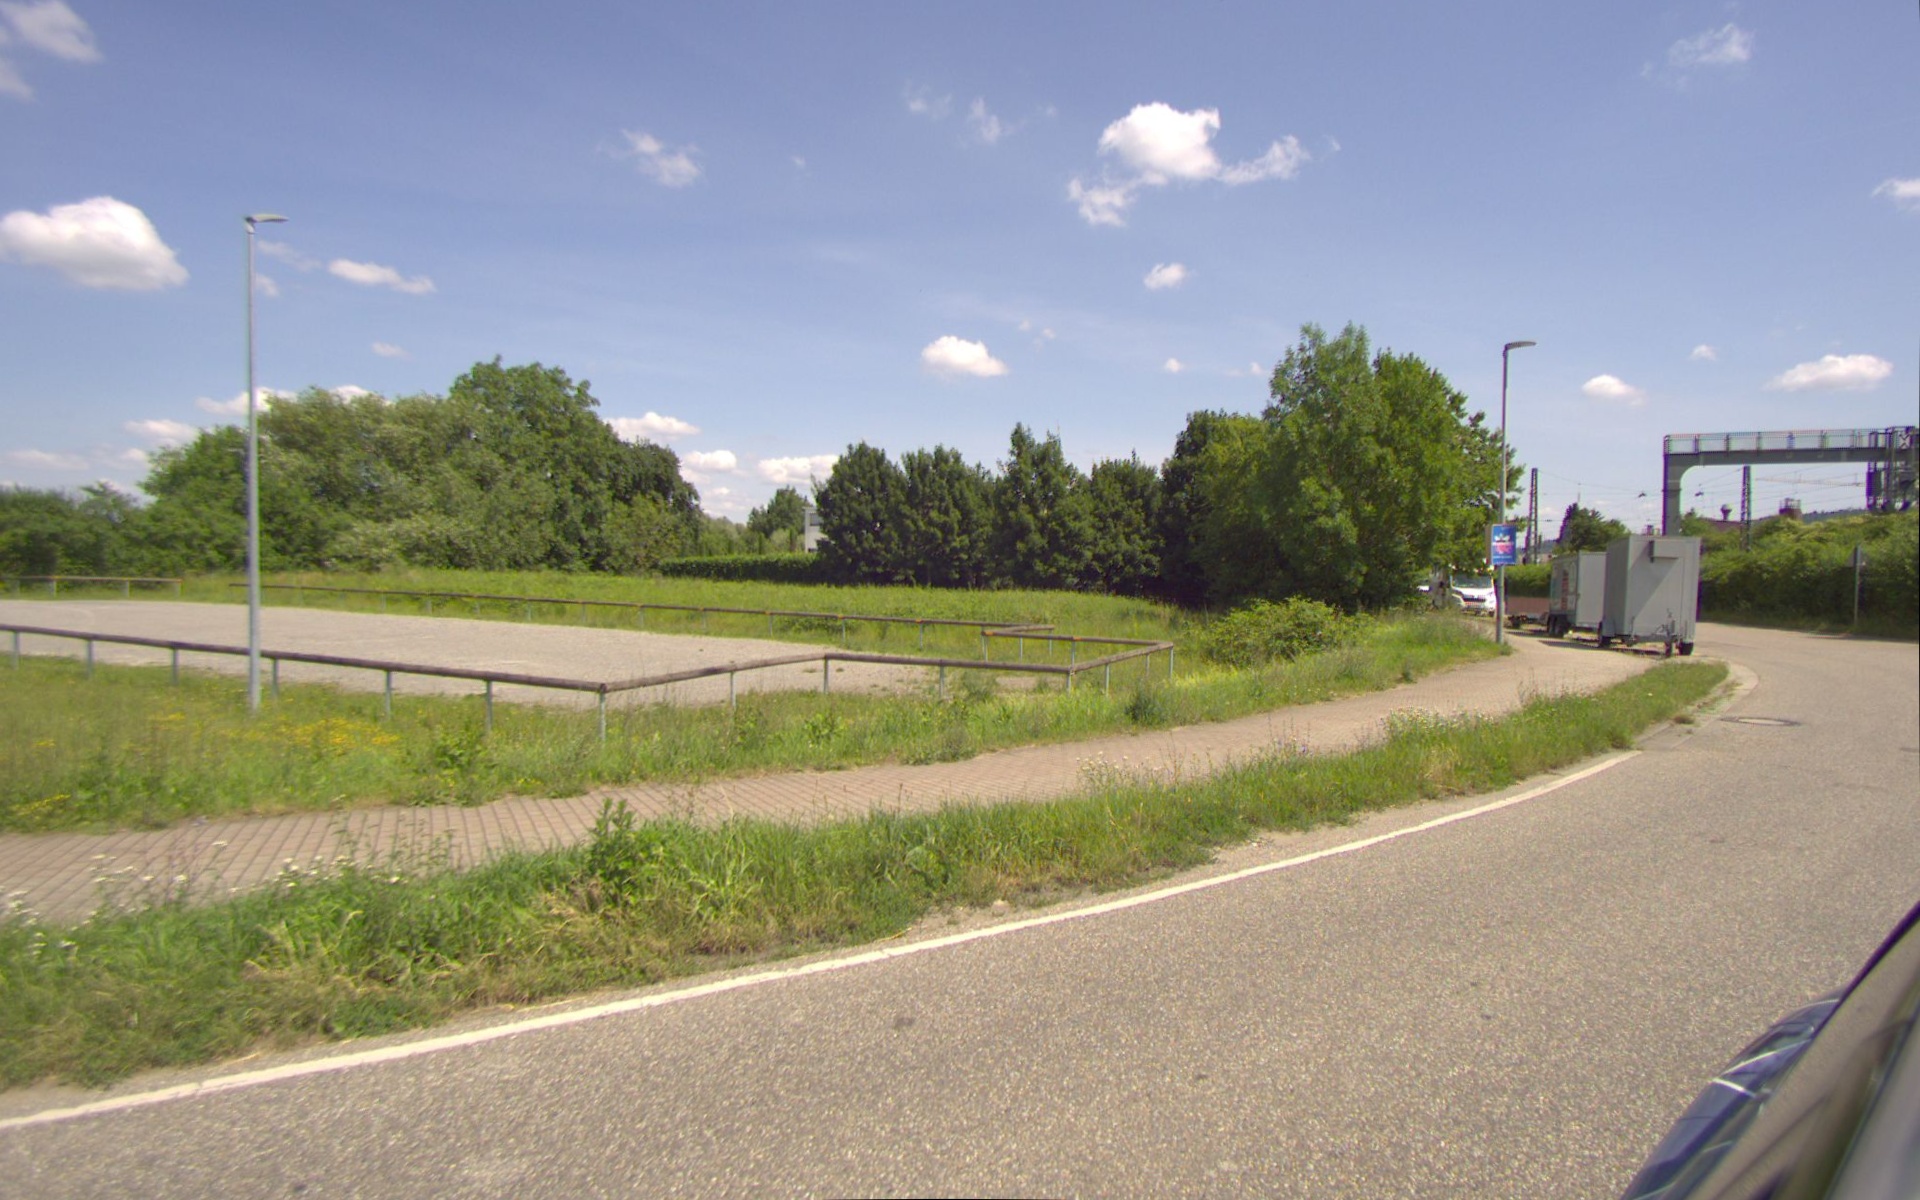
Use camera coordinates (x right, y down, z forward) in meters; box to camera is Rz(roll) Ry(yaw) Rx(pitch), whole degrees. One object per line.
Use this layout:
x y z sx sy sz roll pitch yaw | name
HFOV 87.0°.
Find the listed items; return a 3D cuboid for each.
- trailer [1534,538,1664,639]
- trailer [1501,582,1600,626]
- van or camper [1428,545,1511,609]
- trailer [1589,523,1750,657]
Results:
17.910 -0.368 28.624 1.900 2.539 4.713 4 2 19 | trailer
18.999 0.069 32.750 1.987 1.136 4.458 4 3 21 | trailer
24.995 -1.159 49.962 2.415 2.861 7.580 2 2 18 | van or camper
16.162 -0.269 23.360 1.919 2.676 5.141 4 2 24 | trailer
